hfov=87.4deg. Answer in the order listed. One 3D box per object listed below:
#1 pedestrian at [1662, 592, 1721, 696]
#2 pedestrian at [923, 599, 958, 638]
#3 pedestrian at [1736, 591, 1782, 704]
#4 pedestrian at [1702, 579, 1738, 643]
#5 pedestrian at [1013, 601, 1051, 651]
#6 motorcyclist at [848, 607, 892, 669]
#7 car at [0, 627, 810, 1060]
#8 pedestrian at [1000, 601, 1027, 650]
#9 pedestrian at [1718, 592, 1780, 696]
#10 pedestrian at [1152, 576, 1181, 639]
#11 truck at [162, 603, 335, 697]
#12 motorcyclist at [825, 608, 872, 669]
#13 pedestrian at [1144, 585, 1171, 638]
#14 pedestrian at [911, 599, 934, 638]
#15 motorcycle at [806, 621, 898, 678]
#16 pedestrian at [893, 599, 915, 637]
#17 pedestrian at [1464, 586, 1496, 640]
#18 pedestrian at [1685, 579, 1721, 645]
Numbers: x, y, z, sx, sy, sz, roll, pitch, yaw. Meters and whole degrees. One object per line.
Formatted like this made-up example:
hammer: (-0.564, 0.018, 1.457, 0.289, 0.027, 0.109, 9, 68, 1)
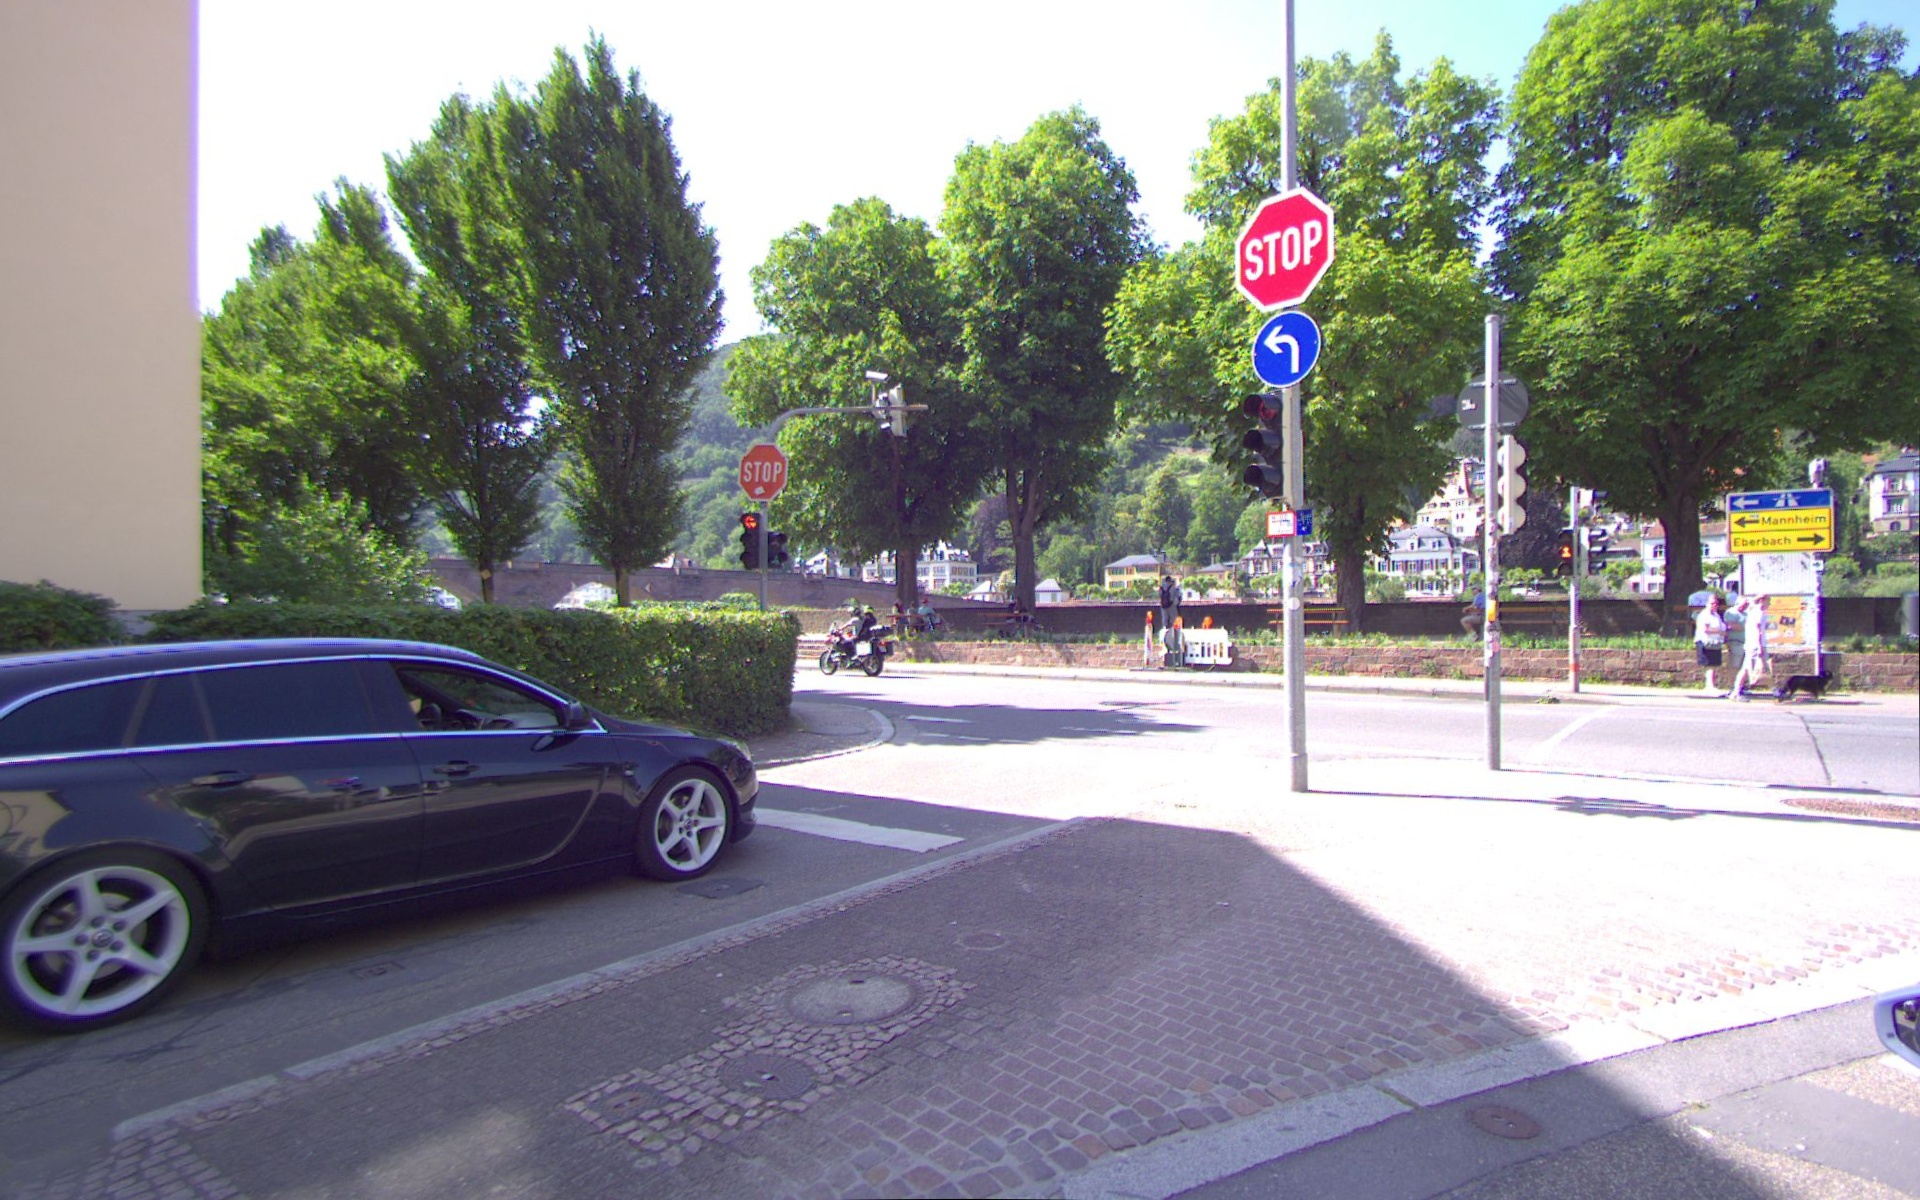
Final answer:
pedestrian: (13.175, 0.795, 18.114, 0.710, 1.825, 0.633, -1, -3, 26)
pedestrian: (-0.649, 0.634, 33.669, 0.462, 1.287, 1.218, -1, -2, 41)
pedestrian: (13.325, 0.782, 16.759, 0.571, 1.825, 0.702, -1, -1, 39)
pedestrian: (15.785, 0.237, 20.871, 0.546, 1.244, 0.982, 2, -2, 37)
pedestrian: (2.242, 0.807, 31.281, 0.462, 1.499, 1.378, -1, -2, 41)
motorcyclist: (-2.235, 0.934, 24.988, 0.760, 1.513, 0.816, -1, -2, 35)
car: (-3.071, 0.916, 5.245, 1.692, 1.481, 4.707, -3, -3, 36)
pedestrian: (1.674, 0.790, 31.443, 0.462, 1.513, 0.800, -1, -1, 41)
pedestrian: (13.957, 0.779, 17.782, 0.677, 1.792, 0.717, -1, -3, 27)
pedestrian: (6.273, 0.236, 30.567, 0.750, 1.882, 0.757, 0, -1, 20)
truck: (-35.777, 2.376, 50.240, 12.558, 4.270, 3.203, -1, -1, 36)
motorcyclist: (-2.800, 0.964, 25.317, 0.860, 1.514, 0.816, 0, -1, 35)
pedestrian: (6.702, 0.389, 34.097, 0.697, 1.754, 0.756, 0, -1, 27)
pedestrian: (-1.258, 0.623, 33.785, 0.462, 1.287, 0.628, -1, -1, 41)
motorcycle: (-2.733, 1.226, 25.313, 2.431, 1.394, 0.761, -1, -2, 35)
pedestrian: (-1.914, 0.612, 34.363, 0.462, 1.287, 0.628, -1, -1, 41)
pedestrian: (12.085, 0.311, 23.359, 0.631, 1.244, 0.414, -1, -2, 24)
pedestrian: (15.254, 0.249, 20.618, 0.546, 1.296, 0.701, 2, -2, 38)
